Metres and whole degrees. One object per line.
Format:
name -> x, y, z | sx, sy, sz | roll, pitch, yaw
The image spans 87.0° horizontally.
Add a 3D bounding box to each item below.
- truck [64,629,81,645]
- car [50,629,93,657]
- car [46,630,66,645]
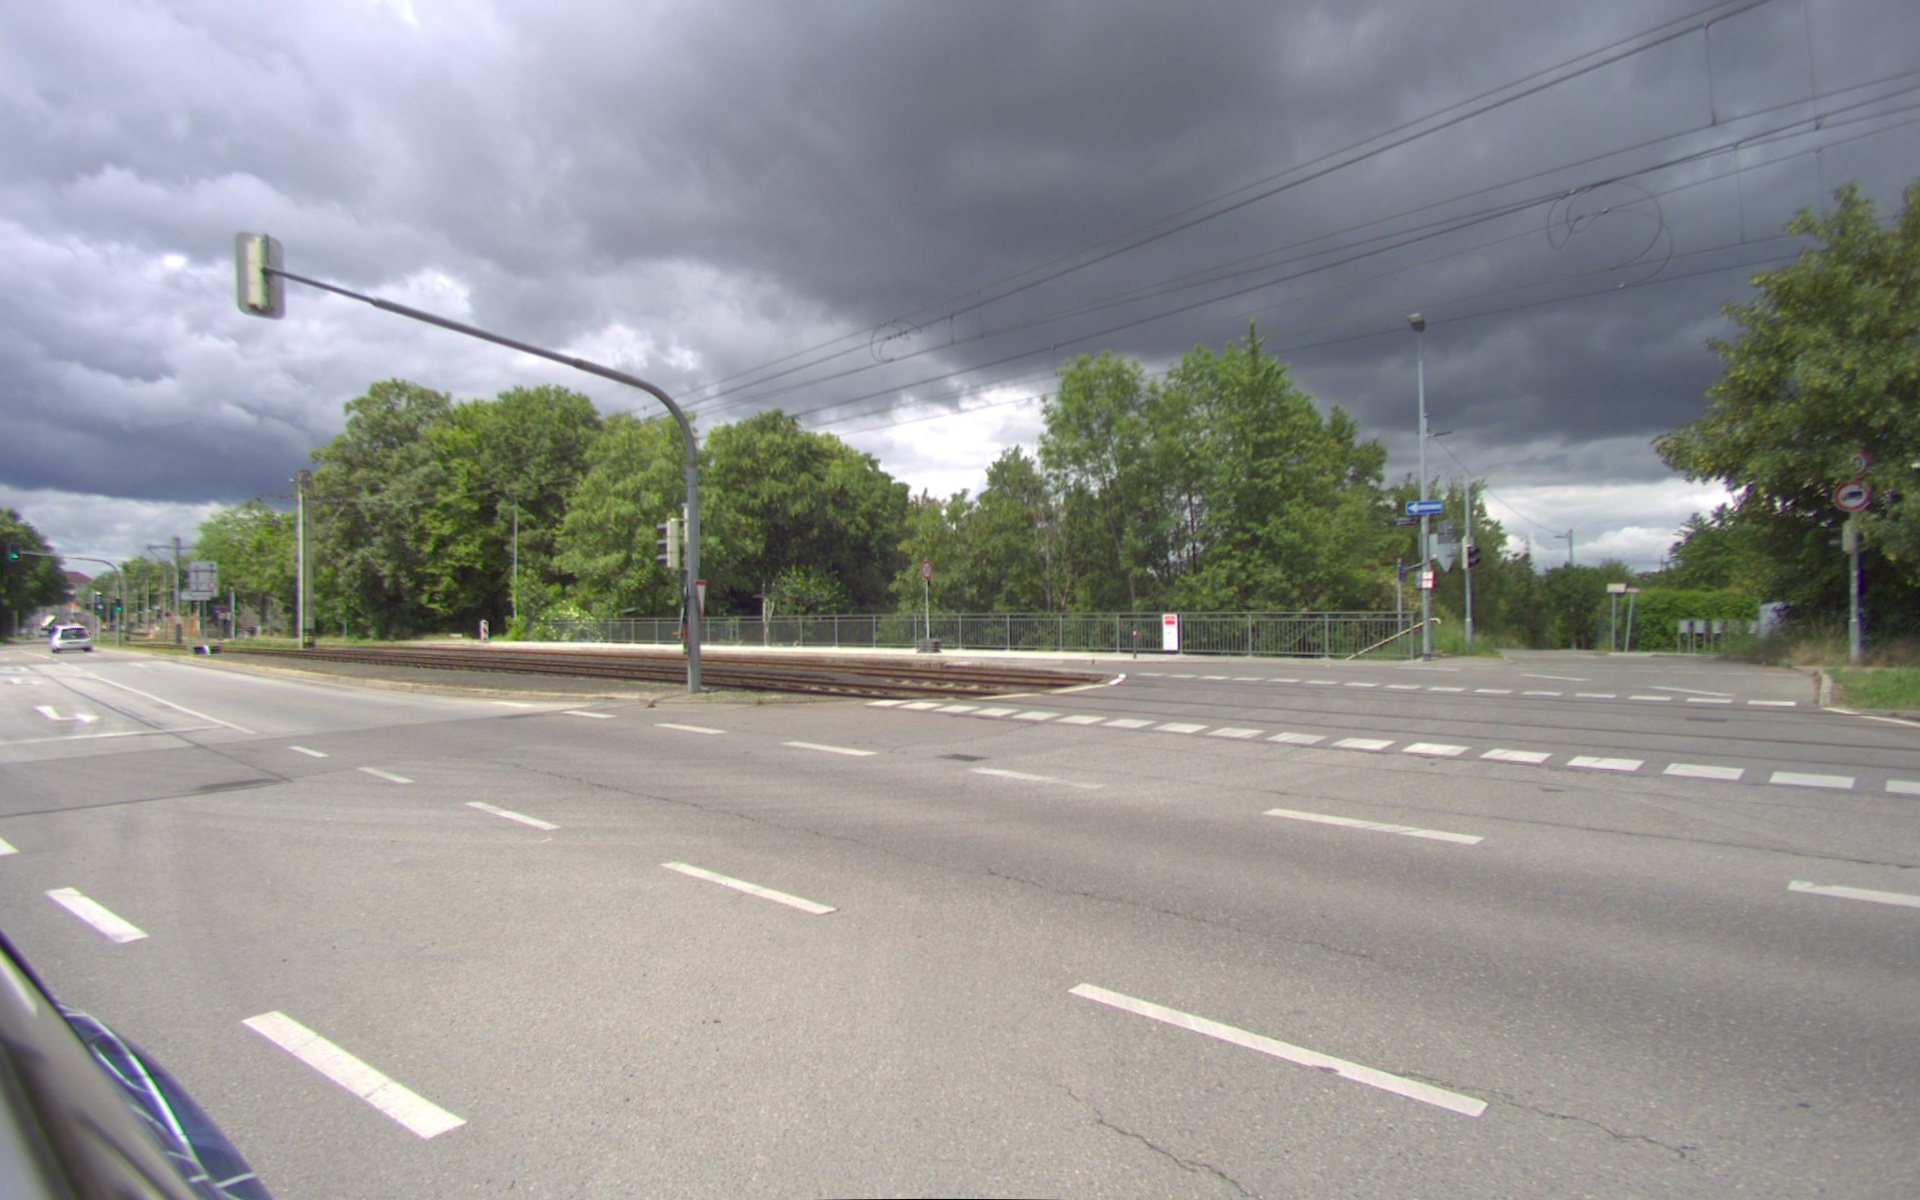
truck -> -157.609, 6.503, 179.672 | 2.066, 2.759, 5.102 | -3, 1, -44
car -> -51.652, 2.465, 58.798 | 3.656, 1.538, 1.575 | -1, -1, 44
car -> -105.758, 4.363, 118.362 | 1.687, 1.689, 4.233 | -3, 0, -42
